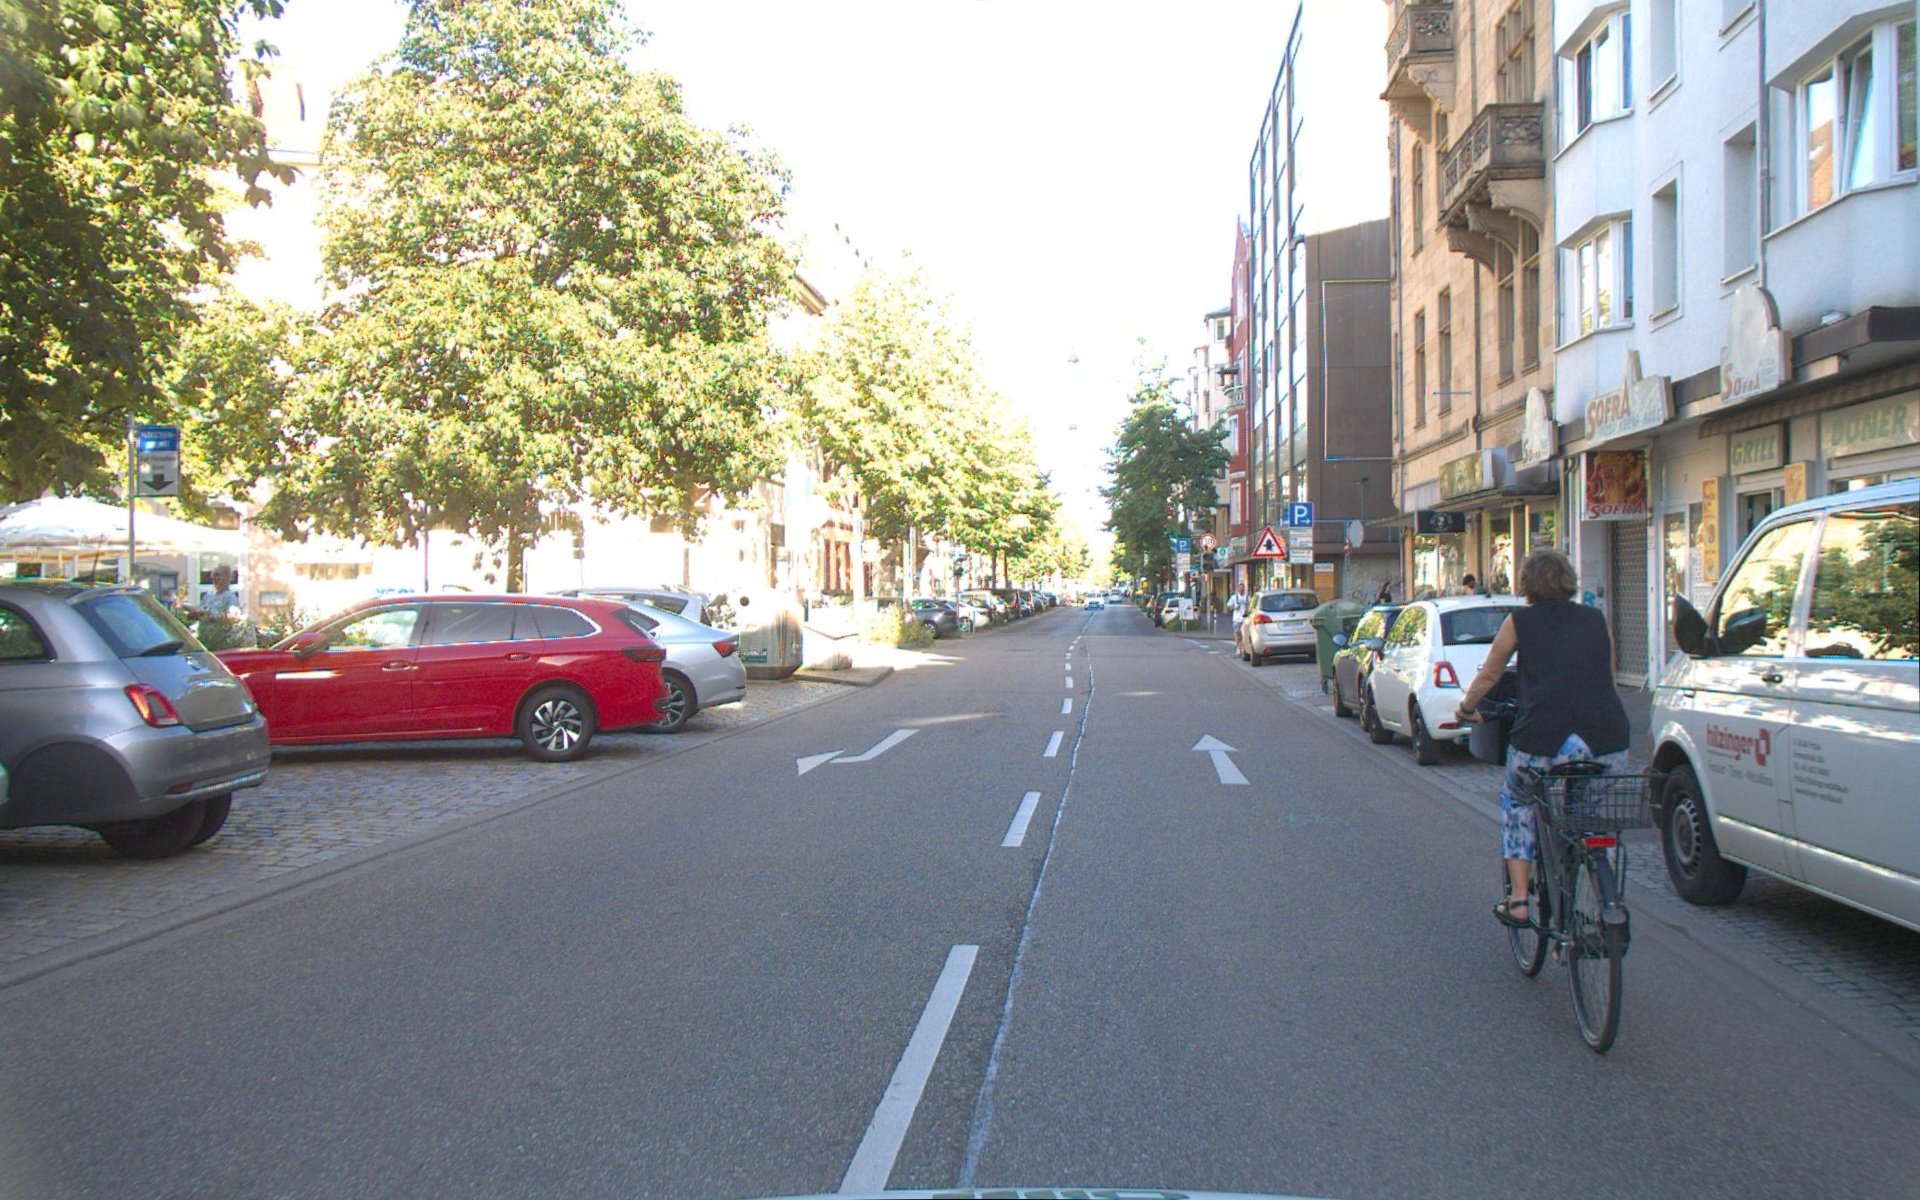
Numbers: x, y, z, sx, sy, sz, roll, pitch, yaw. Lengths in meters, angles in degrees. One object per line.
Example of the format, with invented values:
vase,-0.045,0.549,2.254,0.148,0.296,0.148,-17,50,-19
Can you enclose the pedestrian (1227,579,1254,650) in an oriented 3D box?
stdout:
pedestrian,7.008,0.356,41.341,0.601,1.765,0.634,1,-1,7

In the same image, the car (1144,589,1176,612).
car,13.345,0.037,110.604,1.951,1.478,4.002,0,0,5

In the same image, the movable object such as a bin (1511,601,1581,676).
movable object such as a bin,9.204,0.605,25.995,0.857,1.143,0.829,1,-1,5

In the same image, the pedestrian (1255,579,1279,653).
pedestrian,7.576,0.404,40.863,0.501,1.811,0.612,1,-1,4

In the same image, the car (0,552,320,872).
car,-5.962,0.560,9.423,3.904,1.626,1.750,1,-1,2

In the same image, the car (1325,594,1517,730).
car,5.515,0.708,20.199,1.642,1.473,3.787,1,-1,6

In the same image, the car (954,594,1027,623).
car,1.708,0.472,92.472,3.902,1.534,2.001,1,0,5

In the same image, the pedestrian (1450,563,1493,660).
pedestrian,9.853,0.224,31.849,0.595,1.819,0.684,-2,-1,4

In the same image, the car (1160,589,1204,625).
car,10.519,0.349,78.321,1.951,1.646,4.013,1,-1,8

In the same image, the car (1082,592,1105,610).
car,12.277,0.096,151.873,1.951,1.583,4.002,1,-1,6

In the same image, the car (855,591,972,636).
car,-1.638,0.479,59.210,3.902,1.534,2.001,1,0,6

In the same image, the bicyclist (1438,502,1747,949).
bicyclist,2.270,0.420,6.071,0.769,1.478,1.096,1,-1,4

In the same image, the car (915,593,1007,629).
car,0.073,0.489,74.187,3.902,1.534,2.001,1,0,6

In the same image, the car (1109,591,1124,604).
car,20.022,-0.339,211.934,1.830,1.583,4.002,1,-1,6

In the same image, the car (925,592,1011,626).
car,0.393,0.419,79.216,3.902,1.534,2.001,1,0,6

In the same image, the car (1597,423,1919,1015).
car,4.346,0.396,6.585,1.951,2.040,5.120,0,0,4

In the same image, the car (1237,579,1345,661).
car,7.379,0.444,37.239,1.859,1.704,4.827,1,-1,5

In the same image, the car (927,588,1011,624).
car,0.470,0.305,81.707,3.902,1.703,2.090,1,0,6

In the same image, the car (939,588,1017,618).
car,0.973,0.177,87.899,3.902,1.534,1.896,1,0,6

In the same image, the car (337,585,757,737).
car,-4.477,0.648,18.030,4.170,1.503,1.721,1,-1,-27

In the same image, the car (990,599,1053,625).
car,4.105,0.799,109.623,3.902,1.534,2.002,2,0,9

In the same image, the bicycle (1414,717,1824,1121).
bicycle,2.253,1.005,6.077,0.639,0.975,2.699,1,-1,5

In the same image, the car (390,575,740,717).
car,-4.909,0.568,20.586,3.938,1.614,1.816,1,-1,-26

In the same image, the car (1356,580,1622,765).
car,5.045,0.656,16.250,1.682,1.541,3.585,-3,-1,5

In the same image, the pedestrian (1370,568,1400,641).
pedestrian,11.093,0.120,43.155,0.633,1.904,0.626,0,-1,28

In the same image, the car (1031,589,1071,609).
car,9.595,-0.088,173.995,3.902,2.049,2.001,0,0,15

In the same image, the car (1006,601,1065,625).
car,5.349,0.943,117.169,3.902,1.534,2.002,2,0,9

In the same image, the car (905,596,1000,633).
car,-0.322,0.633,71.905,3.902,1.534,2.001,1,0,6

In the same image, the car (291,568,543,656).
car,-12.114,0.295,36.982,5.188,1.831,2.150,1,-1,-21

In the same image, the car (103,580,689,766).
car,-4.993,0.641,15.113,4.760,1.514,1.756,1,-1,-18

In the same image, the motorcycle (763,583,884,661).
motorcycle,-2.960,0.473,35.816,2.422,1.632,0.999,-1,0,24

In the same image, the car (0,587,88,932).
car,-6.033,0.650,6.775,3.908,1.474,1.801,1,-1,-4

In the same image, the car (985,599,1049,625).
car,3.717,0.805,107.392,3.902,1.534,2.002,2,0,9

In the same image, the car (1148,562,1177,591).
car,14.920,-1.720,122.132,1.951,2.049,4.002,-2,0,5

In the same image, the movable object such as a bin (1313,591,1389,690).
movable object such as a bin,6.299,0.630,26.724,1.050,1.482,1.494,-3,1,10
